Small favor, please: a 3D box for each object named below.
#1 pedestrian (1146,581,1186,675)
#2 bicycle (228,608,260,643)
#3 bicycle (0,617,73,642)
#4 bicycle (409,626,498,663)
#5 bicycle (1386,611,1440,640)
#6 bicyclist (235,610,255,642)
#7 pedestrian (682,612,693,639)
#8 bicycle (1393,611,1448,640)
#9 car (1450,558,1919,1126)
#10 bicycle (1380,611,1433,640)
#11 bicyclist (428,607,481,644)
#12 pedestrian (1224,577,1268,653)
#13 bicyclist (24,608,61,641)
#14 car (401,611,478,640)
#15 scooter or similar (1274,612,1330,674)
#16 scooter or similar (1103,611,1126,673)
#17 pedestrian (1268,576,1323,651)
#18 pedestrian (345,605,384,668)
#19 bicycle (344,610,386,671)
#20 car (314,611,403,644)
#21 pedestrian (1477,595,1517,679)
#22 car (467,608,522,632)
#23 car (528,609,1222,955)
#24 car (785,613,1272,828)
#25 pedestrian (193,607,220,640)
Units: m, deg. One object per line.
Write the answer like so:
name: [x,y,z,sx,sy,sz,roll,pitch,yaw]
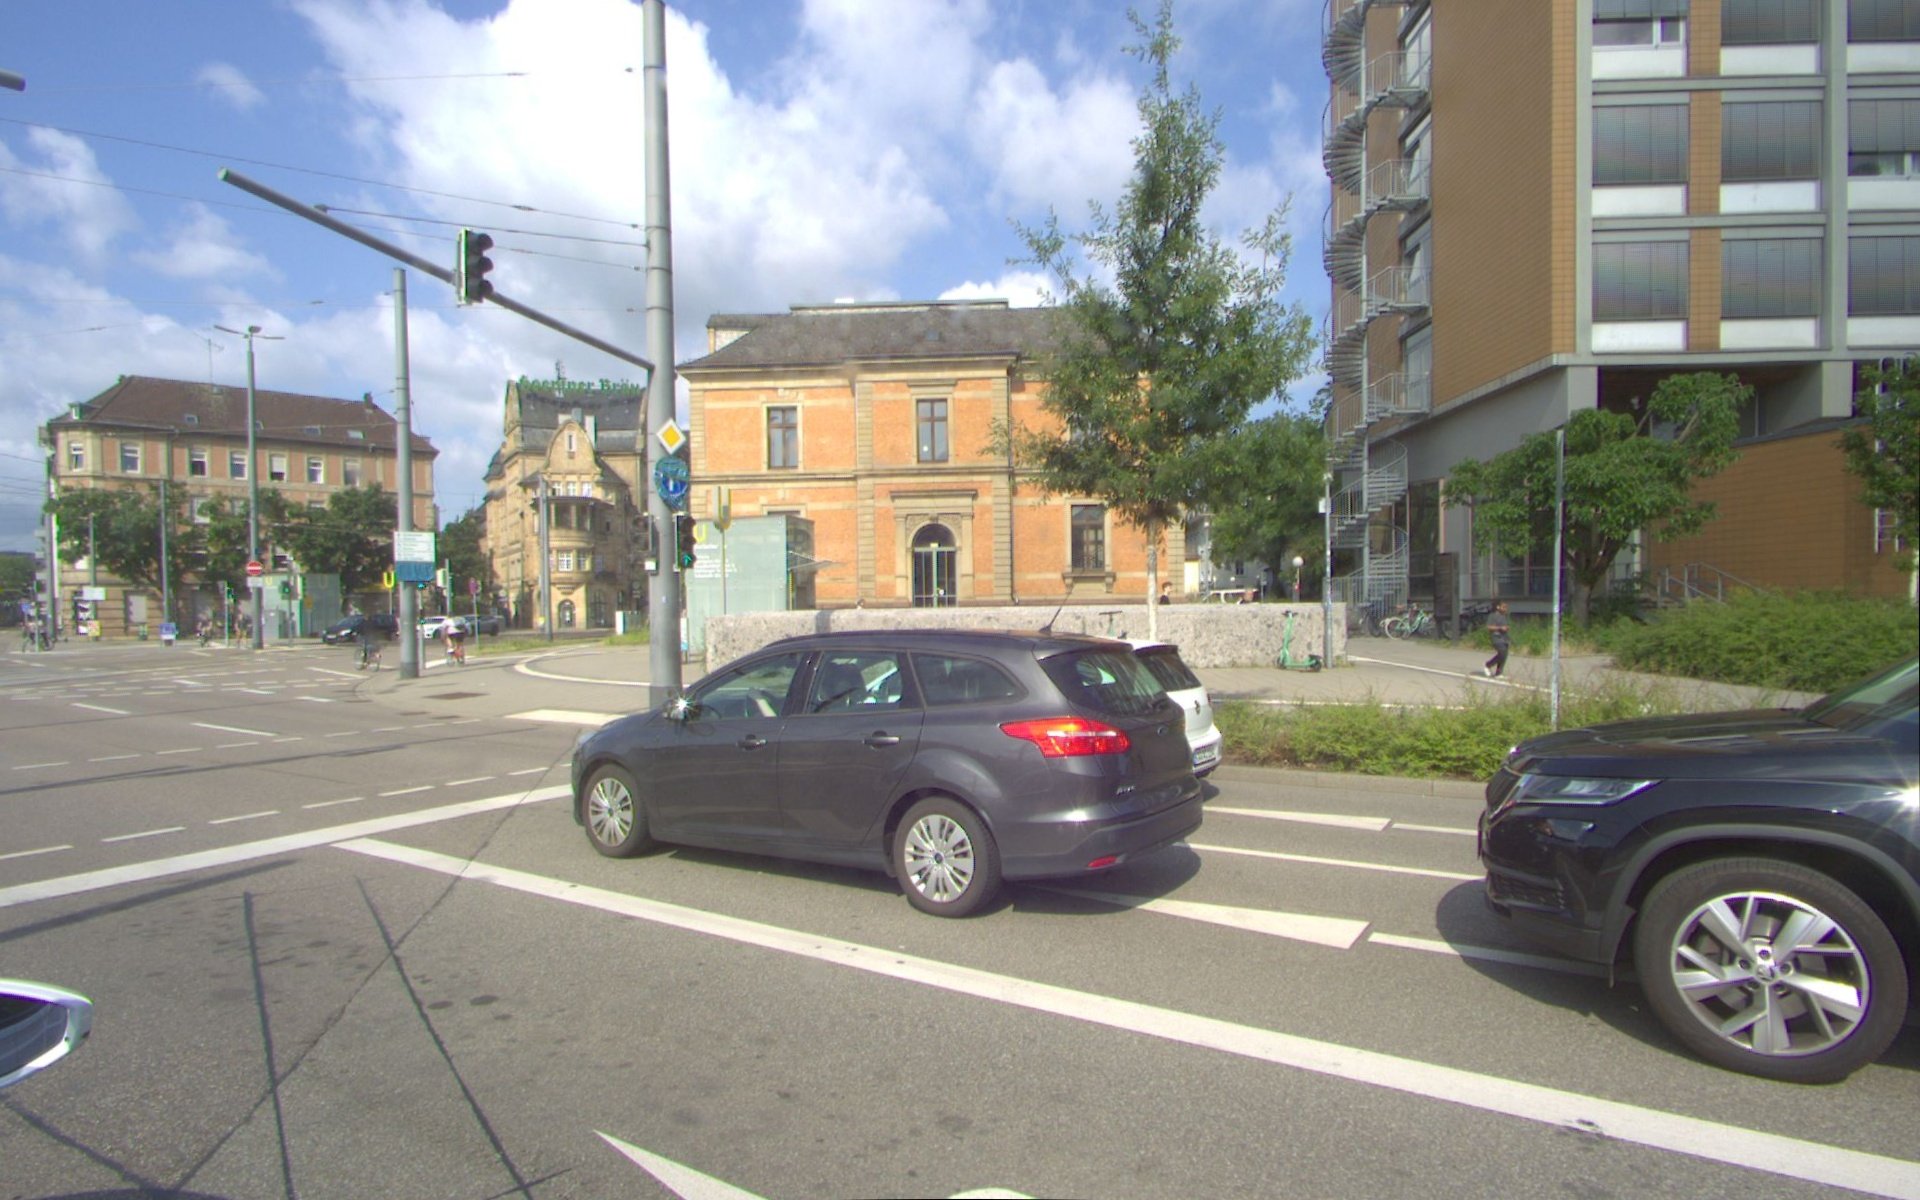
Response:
pedestrian: [4.625,0.613,22.494,0.792,2.041,0.724,-2,2,11]
bicycle: [-37.536,1.316,52.515,1.612,1.801,0.728,-1,0,29]
bicycle: [-46.993,1.473,50.956,0.886,1.186,2.671,0,0,25]
bicycle: [-15.429,1.375,30.477,3.066,1.040,0.991,-3,-4,32]
bicycle: [14.848,0.835,32.835,1.520,0.917,0.459,-1,0,5]
bicyclist: [-37.466,1.363,52.470,0.646,1.693,0.571,0,1,29]
pedestrian: [-15.829,1.476,58.212,0.497,1.525,0.499,0,1,-2]
bicycle: [14.793,0.813,32.194,1.520,0.917,0.459,-1,0,5]
car: [4.258,0.706,3.287,4.615,1.690,1.990,-1,-1,31]
bicycle: [14.912,0.856,33.465,1.520,0.917,0.459,-1,0,5]
bicyclist: [-15.386,0.786,30.476,1.198,1.040,0.989,-4,-4,32]
pedestrian: [6.281,0.311,21.984,0.754,1.610,0.768,1,4,32]
bicyclist: [-46.873,1.232,51.156,0.773,1.680,1.193,0,1,25]
car: [-31.919,1.526,61.550,1.961,1.617,4.683,0,0,6]
scooter or similar: [6.732,0.828,19.761,0.396,1.146,1.184,-1,1,-19]
scooter or similar: [3.202,0.856,20.775,0.395,1.213,1.186,-1,1,6]
pedestrian: [7.577,0.284,22.629,0.753,1.610,0.934,-3,4,-27]
pedestrian: [-18.011,1.105,30.259,0.982,1.865,0.990,1,-1,-32]
bicycle: [-18.003,1.212,30.274,0.995,1.747,2.455,1,-2,-32]
car: [-32.834,1.524,54.836,1.961,1.761,4.343,0,-2,5]
pedestrian: [10.044,0.680,18.733,0.573,1.541,0.476,-1,2,36]
car: [-33.669,1.418,72.525,1.721,1.621,3.999,-1,0,7]
car: [-0.656,0.843,6.387,4.193,1.549,1.764,0,1,32]
car: [0.529,0.952,9.250,4.172,1.464,1.676,1,-2,34]
pedestrian: [-41.577,1.307,55.240,0.872,1.833,0.866,0,-1,21]
